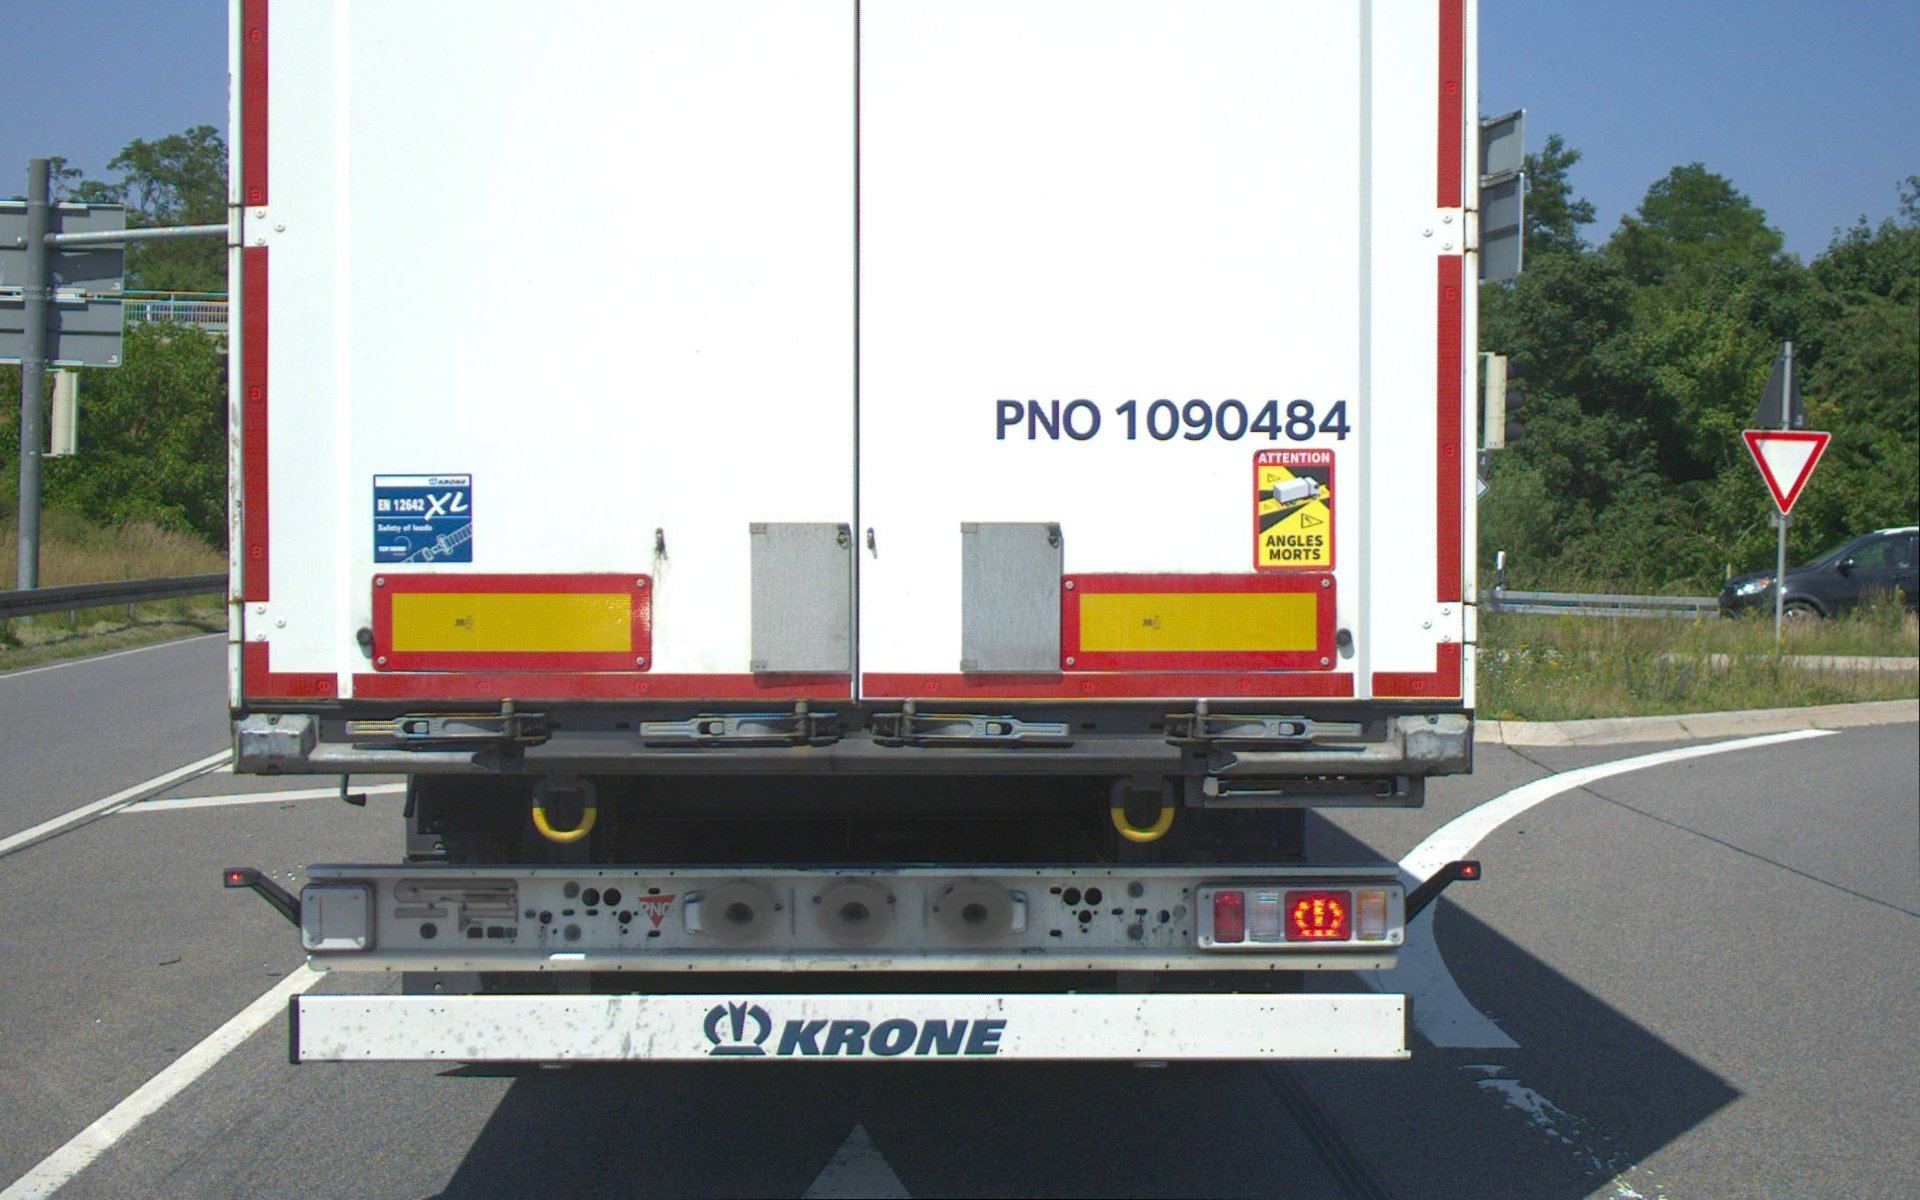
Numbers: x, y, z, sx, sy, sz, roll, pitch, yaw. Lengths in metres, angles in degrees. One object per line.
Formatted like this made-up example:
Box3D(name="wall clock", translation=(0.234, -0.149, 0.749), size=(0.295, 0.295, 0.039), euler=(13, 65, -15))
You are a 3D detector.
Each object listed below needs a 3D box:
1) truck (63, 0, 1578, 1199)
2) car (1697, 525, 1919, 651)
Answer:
Box3D(name="truck", translation=(-0.374, -0.694, 11.755), size=(2.987, 3.928, 9.876), euler=(0, 1, -1))
Box3D(name="car", translation=(12.025, -0.167, 46.074), size=(3.986, 1.634, 1.841), euler=(1, 1, 5))
